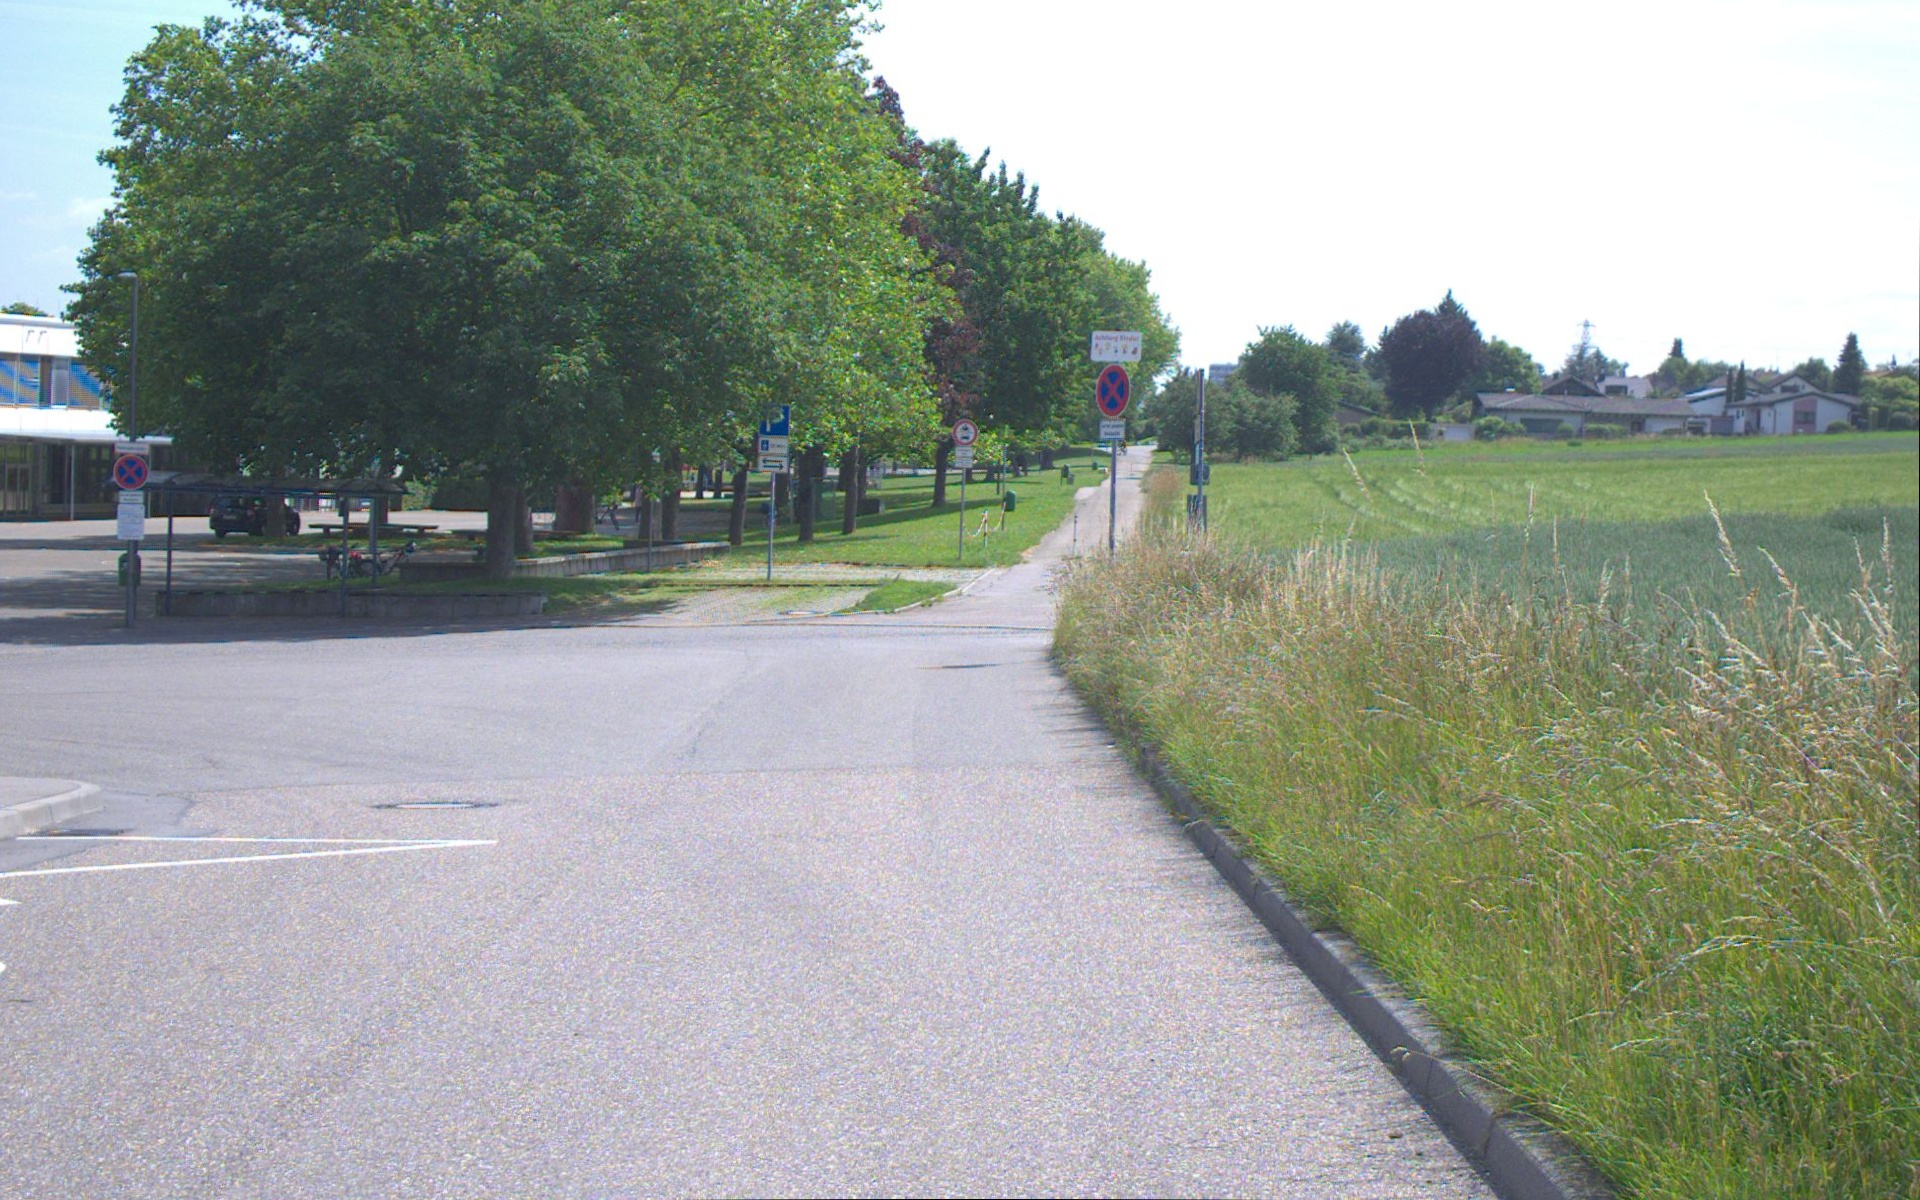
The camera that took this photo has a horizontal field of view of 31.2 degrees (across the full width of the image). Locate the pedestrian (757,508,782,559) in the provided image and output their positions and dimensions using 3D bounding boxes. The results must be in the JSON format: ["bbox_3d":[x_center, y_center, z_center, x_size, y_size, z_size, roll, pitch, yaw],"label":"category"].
[{"bbox_3d":[-7.500,-2.611,135.418,0.682,2.006,0.803,0,2,-30],"label":"pedestrian"}]

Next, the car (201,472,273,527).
[{"bbox_3d":[-24.304,-3.396,115.665,1.691,1.828,3.411,0,2,1],"label":"car"}]

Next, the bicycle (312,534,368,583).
[{"bbox_3d":[-13.781,-0.927,76.418,0.595,1.035,1.892,0,2,10],"label":"bicycle"}]

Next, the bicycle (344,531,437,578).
[{"bbox_3d":[-12.987,-1.043,78.428,2.062,1.035,0.572,-1,2,-5],"label":"bicycle"}]
